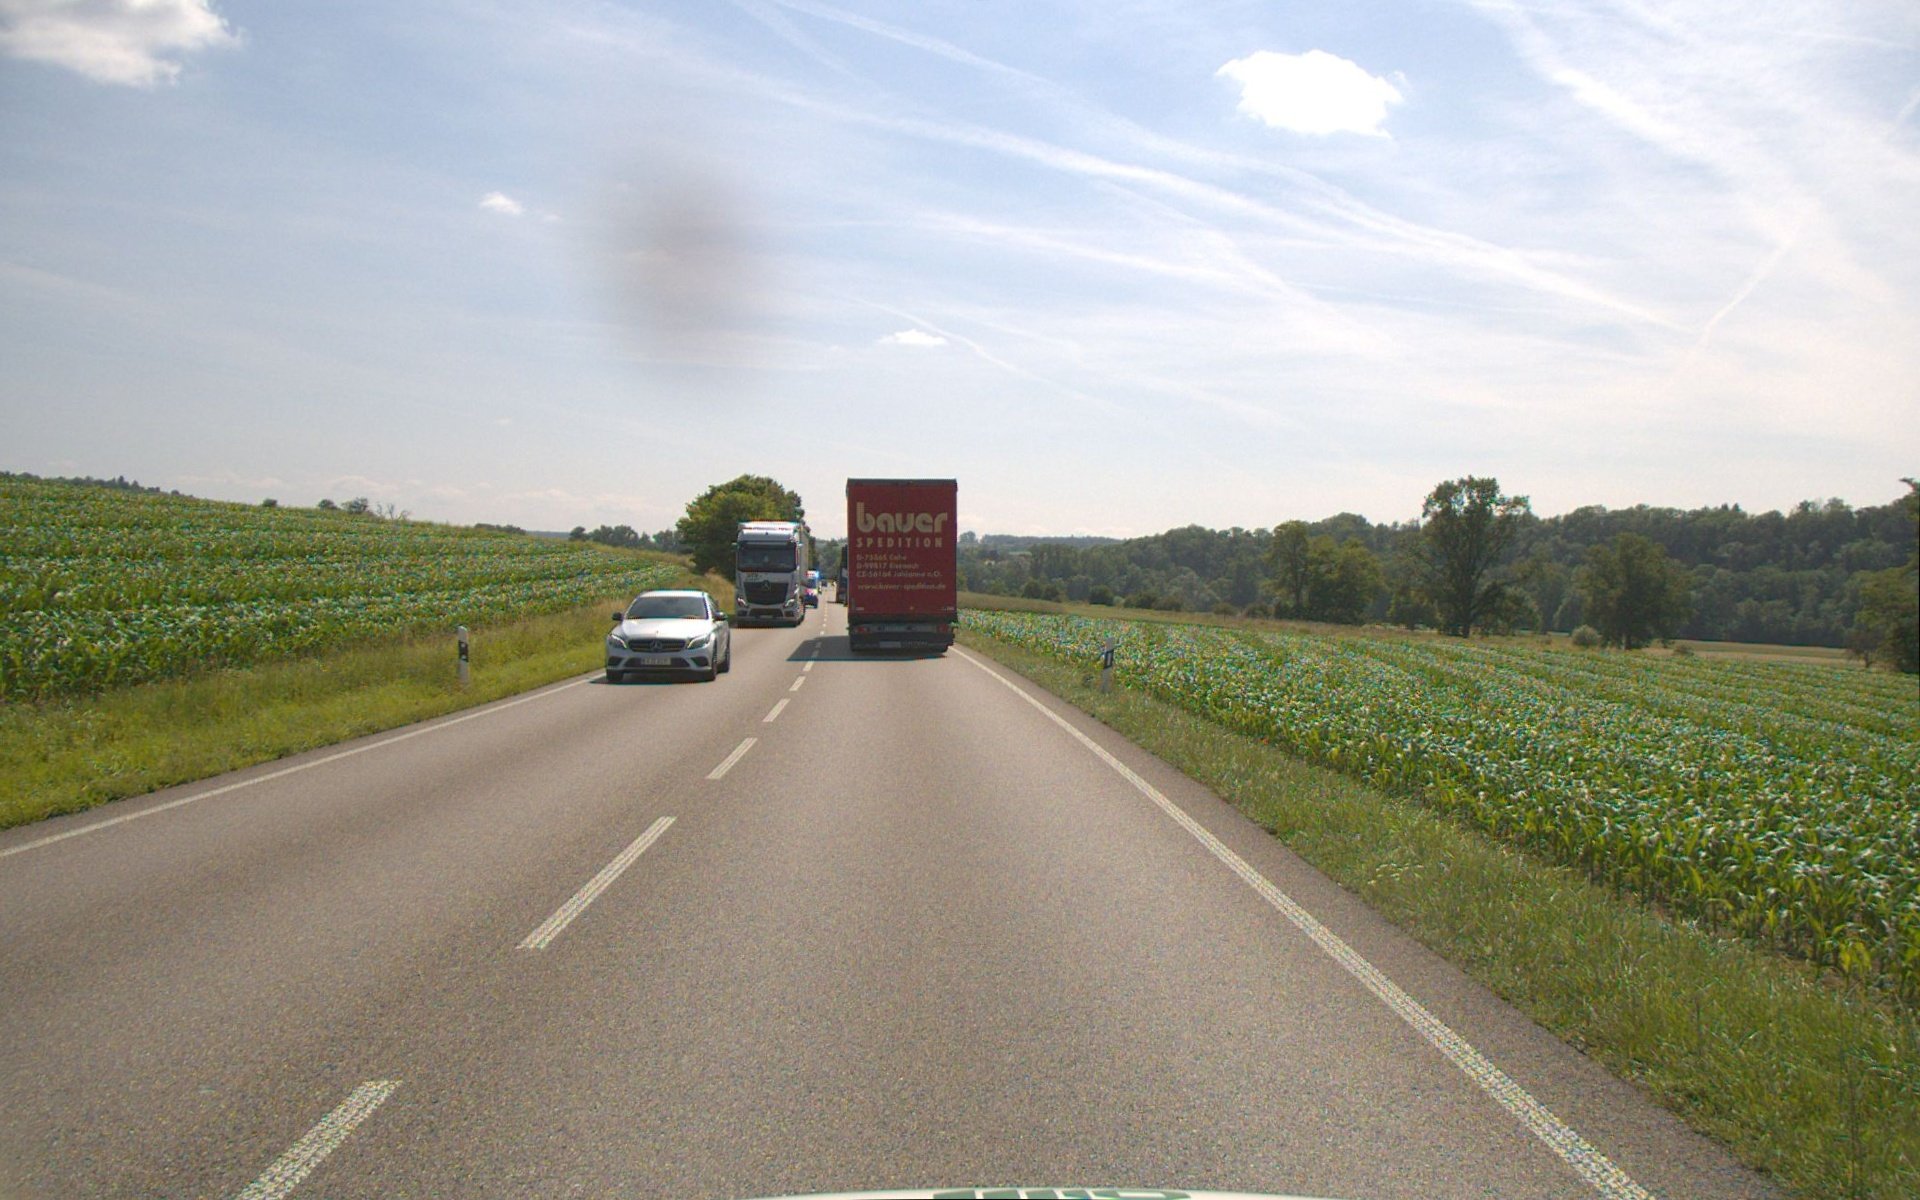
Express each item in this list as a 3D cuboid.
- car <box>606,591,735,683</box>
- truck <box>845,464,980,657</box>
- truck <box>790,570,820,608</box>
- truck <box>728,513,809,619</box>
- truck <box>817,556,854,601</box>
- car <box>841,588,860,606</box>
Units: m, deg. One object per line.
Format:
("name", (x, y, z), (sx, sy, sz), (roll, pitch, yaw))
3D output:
("car", (-4.937, 0.583, 28.671), (1.693, 1.466, 4.174), (0, 0, -3))
("truck", (-1.277, -0.871, 41.492), (3.032, 4.337, 8.309), (0, 0, -3))
("truck", (-11.404, -0.772, 121.974), (2.164, 2.718, 6.410), (0, 0, -5))
("truck", (-8.064, -1.345, 71.435), (2.771, 4.062, 16.519), (0, 0, -4))
("truck", (-12.937, -2.146, 172.997), (3.568, 4.367, 11.977), (0, -1, -3))
("car", (-9.529, -0.277, 144.218), (1.549, 1.527, 3.875), (1, 0, -2))
